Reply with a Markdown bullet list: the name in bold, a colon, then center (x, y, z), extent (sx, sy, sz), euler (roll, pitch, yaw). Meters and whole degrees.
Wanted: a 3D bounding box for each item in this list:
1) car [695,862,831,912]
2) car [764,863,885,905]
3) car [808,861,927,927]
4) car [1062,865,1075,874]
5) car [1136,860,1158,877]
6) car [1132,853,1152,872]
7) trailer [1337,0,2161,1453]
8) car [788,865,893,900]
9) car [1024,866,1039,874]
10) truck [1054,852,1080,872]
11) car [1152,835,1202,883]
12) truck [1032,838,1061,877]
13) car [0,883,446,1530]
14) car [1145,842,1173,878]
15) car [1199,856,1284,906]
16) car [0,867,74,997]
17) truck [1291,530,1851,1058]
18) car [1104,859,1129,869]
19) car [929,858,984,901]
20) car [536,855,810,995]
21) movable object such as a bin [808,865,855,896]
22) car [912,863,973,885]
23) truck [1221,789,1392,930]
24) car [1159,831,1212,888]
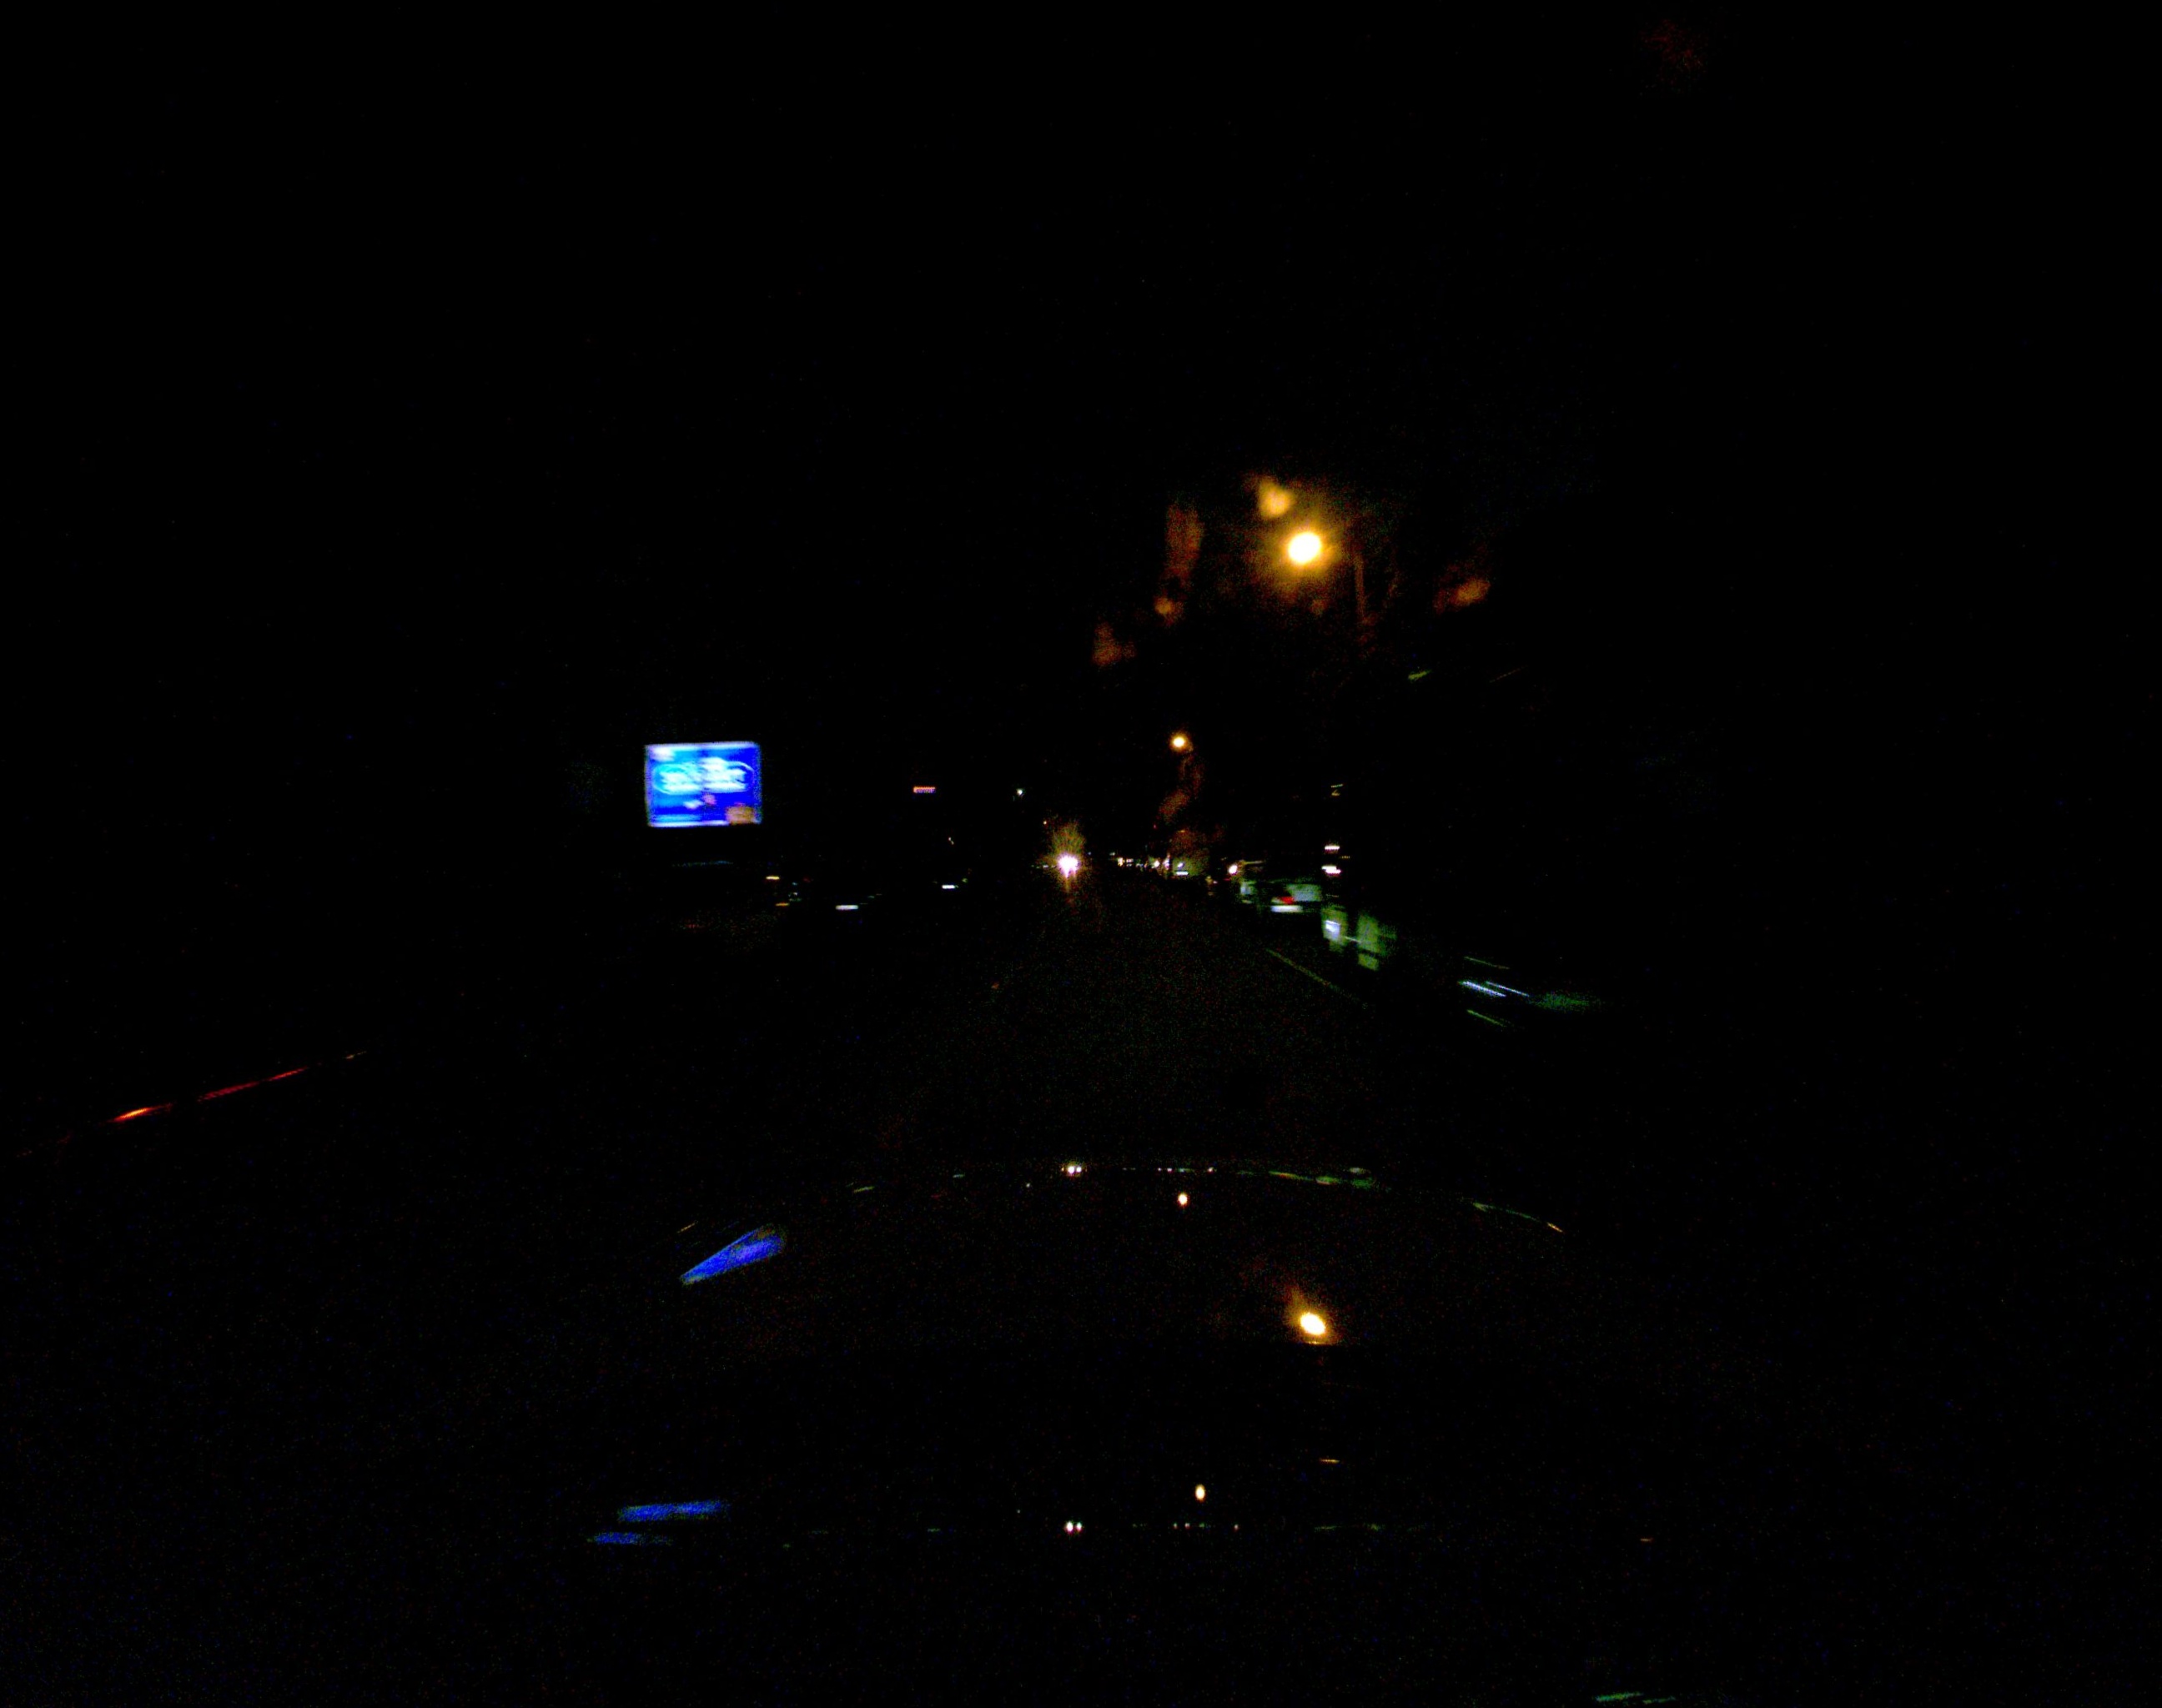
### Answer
- **car**: center (-11.509, 1.167, 29.638), extent (4.419, 1.560, 1.985), euler (-2, -1, -23)
- **car**: center (-11.065, 1.252, 35.131), extent (4.683, 1.551, 1.982), euler (-2, -1, -28)
- **car**: center (-6.116, 1.085, 23.982), extent (1.939, 1.688, 4.819), euler (-2, -1, 3)
- **car**: center (-2.025, 2.512, 133.903), extent (1.851, 1.420, 4.000), euler (-2, -1, 1)
- **car**: center (5.998, 1.302, 74.058), extent (1.937, 1.489, 5.016), euler (-2, -1, 4)
- **car**: center (6.984, 0.961, 93.200), extent (1.986, 2.014, 4.913), euler (-3, -1, 2)
- **trailer**: center (3.888, -0.492, 1.485), extent (2.755, 3.764, 14.662), euler (-1, -1, 2)
- **car**: center (-11.144, 1.301, 37.789), extent (4.425, 1.440, 1.777), euler (-2, -1, -28)
- **car**: center (-9.291, 3.000, 152.773), extent (1.818, 1.371, 4.336), euler (-2, -1, -16)
- **truck**: center (-2.948, 1.738, 172.581), extent (2.764, 3.783, 9.077), euler (-2, -1, -19)
- **car**: center (5.449, 0.309, 47.004), extent (2.122, 2.571, 5.906), euler (1, -1, -1)
- **truck**: center (-3.793, 0.410, 90.925), extent (2.737, 4.034, 9.558), euler (-2, -1, 0)
- **car**: center (-3.426, 0.844, 0.918), extent (1.813, 1.437, 4.400), euler (-2, -1, 2)
- **car**: center (5.789, 0.474, 60.975), extent (1.984, 2.526, 5.916), euler (1, -1, 4)
- **car**: center (4.944, 0.799, 25.719), extent (1.823, 1.407, 4.910), euler (1, 0, 2)
- **car**: center (-16.111, 1.077, 10.374), extent (4.380, 1.653, 1.924), euler (-2, -1, 4)
- **truck**: center (4.165, -0.390, 8.453), extent (2.755, 3.764, 5.230), euler (-1, -1, 2)
- **car**: center (6.775, 1.938, 155.802), extent (4.342, 1.646, 1.879), euler (-4, 0, -21)
- **car**: center (-5.828, 1.163, 38.683), extent (1.807, 1.849, 4.415), euler (-2, -1, 1)
- **car**: center (-6.235, 0.967, 13.261), extent (1.797, 1.799, 4.880), euler (-2, -1, 2)
- **movable object such as a bin**: center (-12.902, 1.349, 42.115), extent (1.850, 1.500, 1.610), euler (-1, -1, 2)
- **car**: center (-10.598, 1.524, 62.375), extent (4.094, 1.432, 1.906), euler (2, 1, 20)
- **truck**: center (4.822, 0.128, 18.677), extent (2.391, 2.594, 6.603), euler (-2, -1, 3)
- **car**: center (5.055, 0.294, 40.266), extent (1.986, 2.571, 6.016), euler (1, -1, 2)
